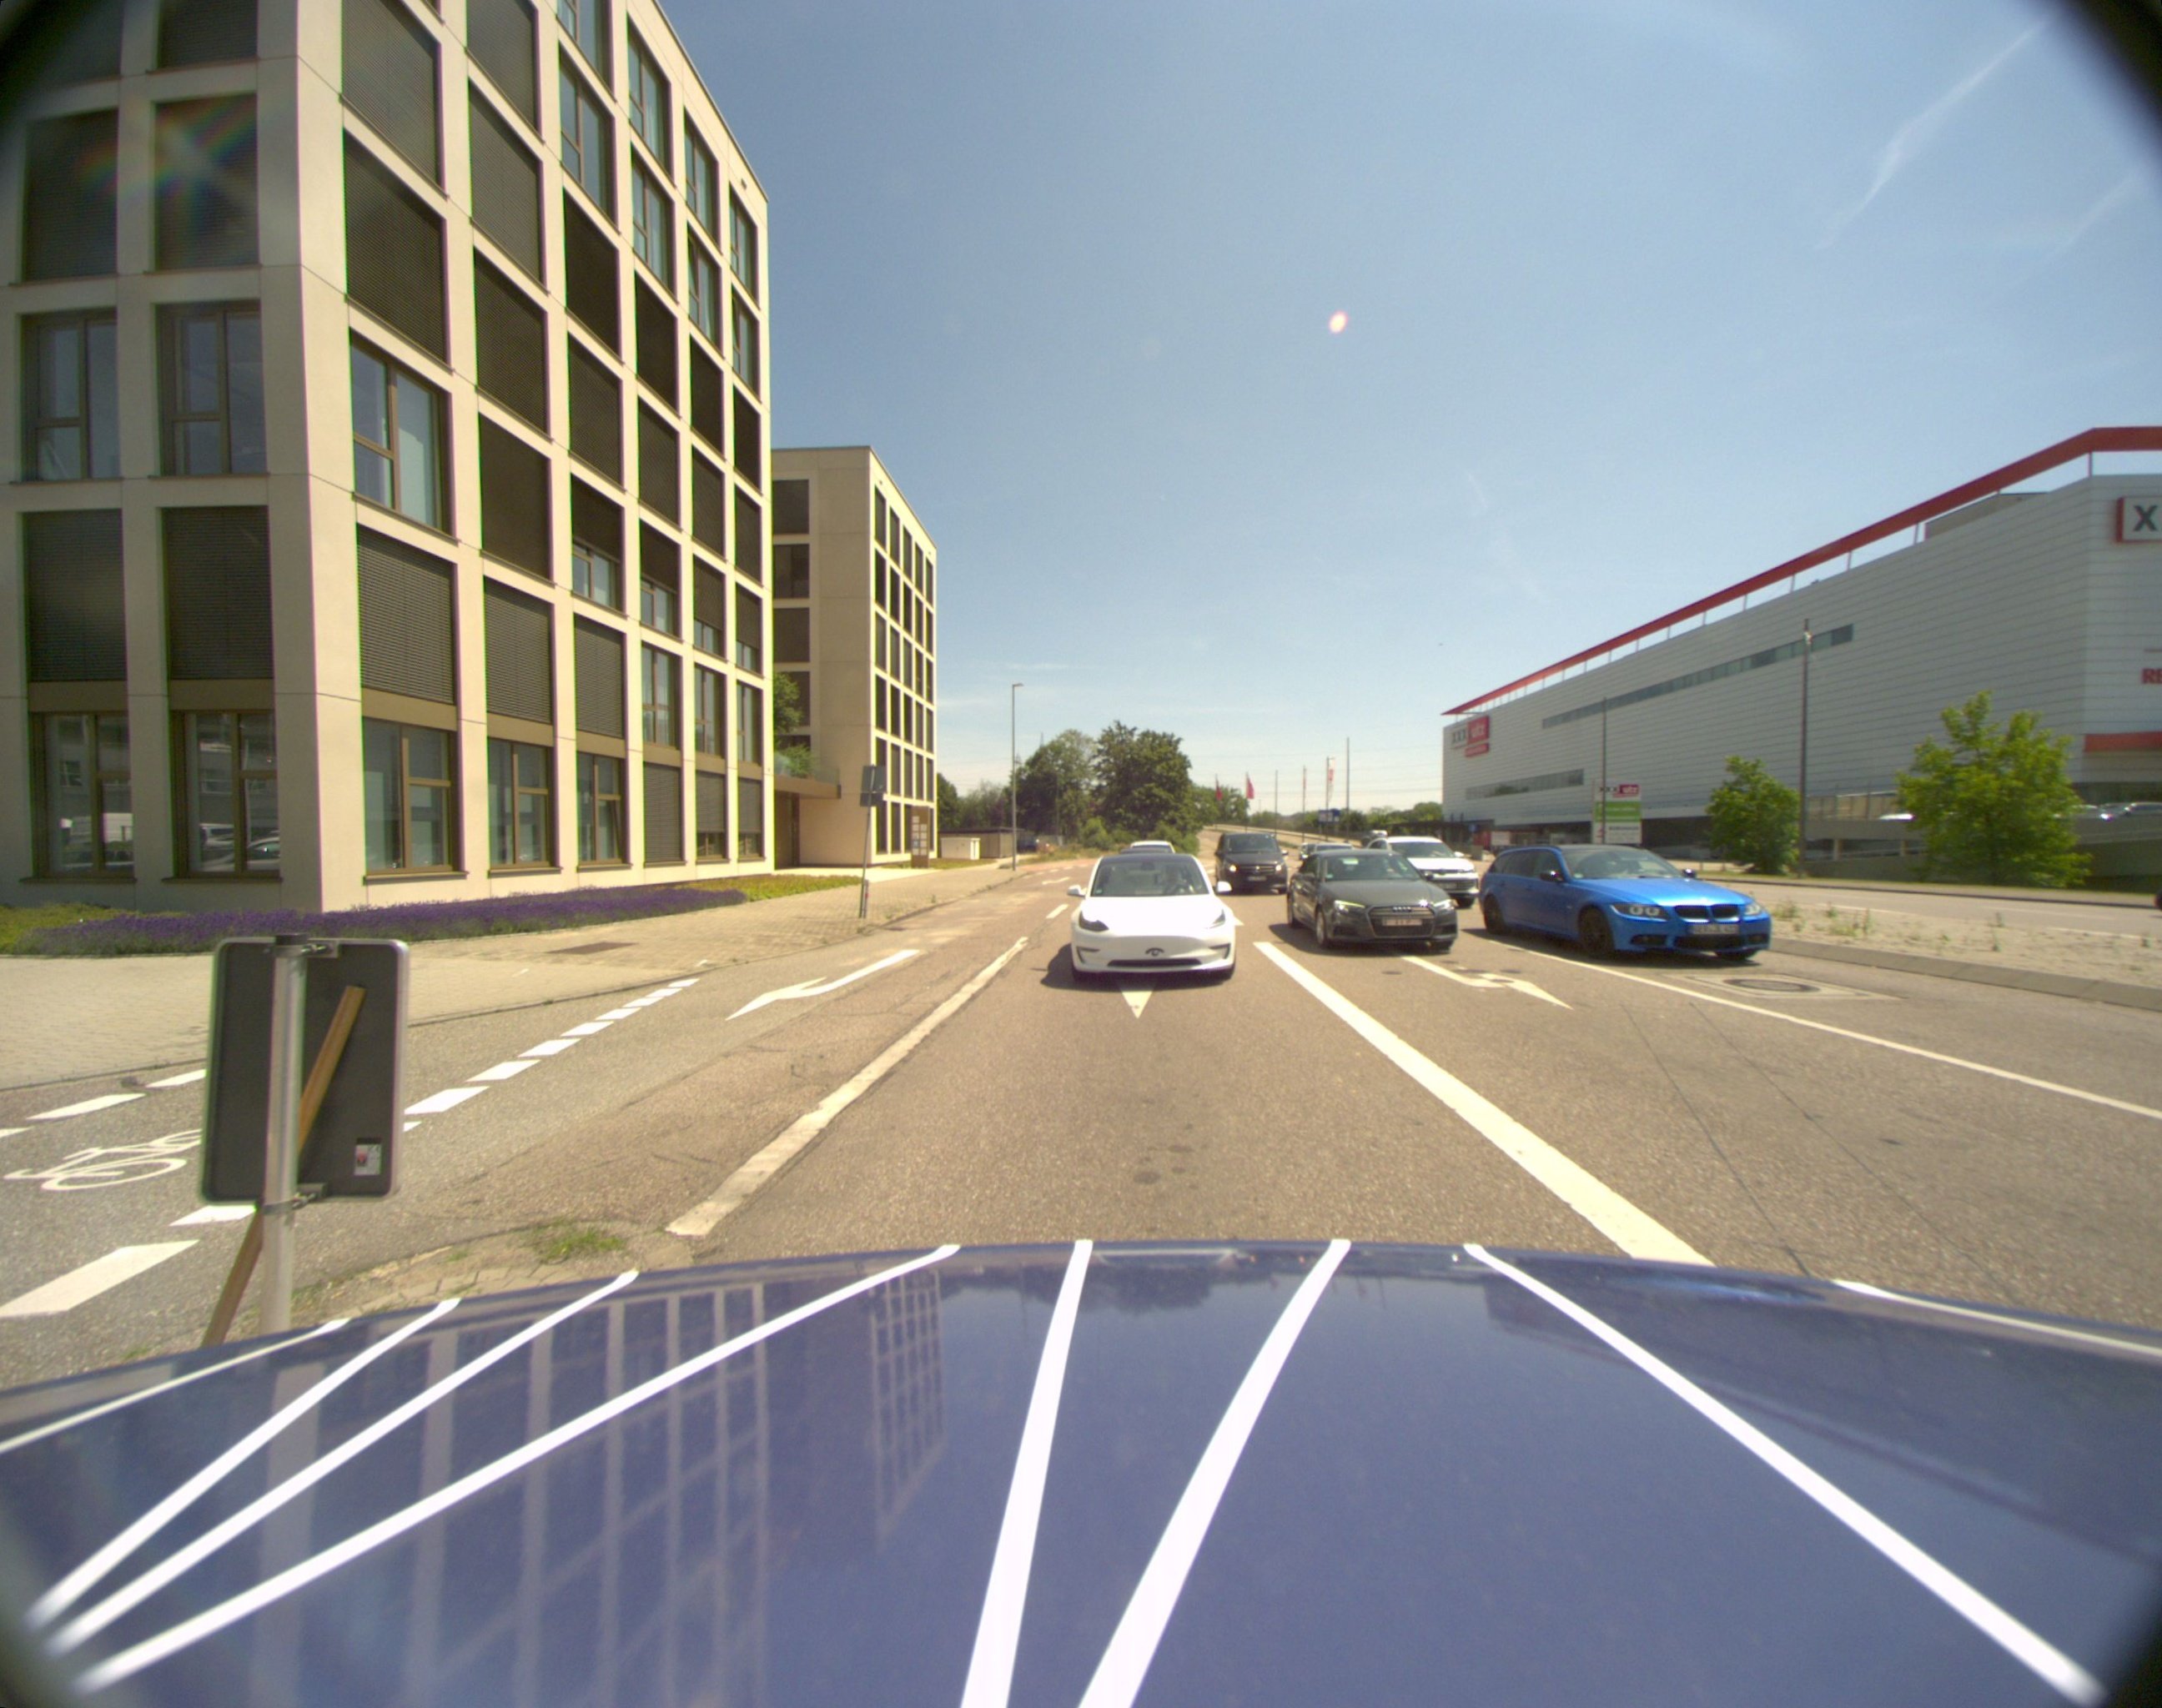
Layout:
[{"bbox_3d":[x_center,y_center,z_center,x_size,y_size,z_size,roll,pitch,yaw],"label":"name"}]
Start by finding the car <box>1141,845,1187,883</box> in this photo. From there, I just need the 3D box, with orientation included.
[{"bbox_3d":[3.359,0.355,31.327,1.769,1.395,3.951,-1,1,5],"label":"car"}]

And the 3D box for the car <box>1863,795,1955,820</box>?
[{"bbox_3d":[53.718,-3.005,49.351,3.996,1.499,1.717,0,1,2],"label":"car"}]

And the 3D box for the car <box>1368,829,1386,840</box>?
[{"bbox_3d":[58.499,-3.823,150.197,2.191,2.270,4.815,0,1,6],"label":"car"}]

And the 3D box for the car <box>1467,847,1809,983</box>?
[{"bbox_3d":[7.228,0.657,10.557,1.769,1.395,4.431,-1,1,4],"label":"car"}]

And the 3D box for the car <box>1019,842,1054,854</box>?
[{"bbox_3d":[-5.133,-0.716,87.797,3.833,1.386,1.736,0,1,-11],"label":"car"}]

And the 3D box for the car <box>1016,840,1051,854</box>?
[{"bbox_3d":[-5.363,-0.803,85.766,3.833,1.543,1.736,0,1,-11],"label":"car"}]

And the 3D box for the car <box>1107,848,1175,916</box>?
[{"bbox_3d":[1.618,0.628,19.525,1.556,1.528,3.822,0,1,7],"label":"car"}]

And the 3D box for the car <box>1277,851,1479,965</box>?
[{"bbox_3d":[4.303,0.686,11.714,1.769,1.374,4.090,-1,1,4],"label":"car"}]

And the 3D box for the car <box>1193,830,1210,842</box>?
[{"bbox_3d":[21.141,-3.198,133.518,1.914,2.002,3.987,0,1,-5],"label":"car"}]

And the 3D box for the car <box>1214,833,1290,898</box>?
[{"bbox_3d":[5.268,0.276,23.982,1.894,1.811,4.838,-1,1,8],"label":"car"}]

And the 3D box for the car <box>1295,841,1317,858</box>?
[{"bbox_3d":[20.548,-0.409,69.439,1.724,1.463,4.003,0,1,13],"label":"car"}]

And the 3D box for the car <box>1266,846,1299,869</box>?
[{"bbox_3d":[12.906,0.183,48.620,1.605,1.431,3.738,0,1,22],"label":"car"}]

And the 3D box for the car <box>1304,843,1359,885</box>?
[{"bbox_3d":[9.176,0.325,28.087,1.767,1.414,3.903,-2,0,16],"label":"car"}]

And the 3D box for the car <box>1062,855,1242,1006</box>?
[{"bbox_3d":[0.855,0.804,10.037,1.823,1.428,4.284,-2,1,3],"label":"car"}]

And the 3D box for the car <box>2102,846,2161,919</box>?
[{"bbox_3d":[24.512,0.645,15.516,1.998,1.587,4.000,0,1,4],"label":"car"}]

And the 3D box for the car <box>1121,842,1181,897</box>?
[{"bbox_3d":[2.339,0.425,24.717,1.777,1.600,3.822,0,2,7],"label":"car"}]

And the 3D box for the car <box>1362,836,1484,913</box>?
[{"bbox_3d":[8.235,0.415,18.715,1.768,1.632,4.494,-2,1,12],"label":"car"}]
